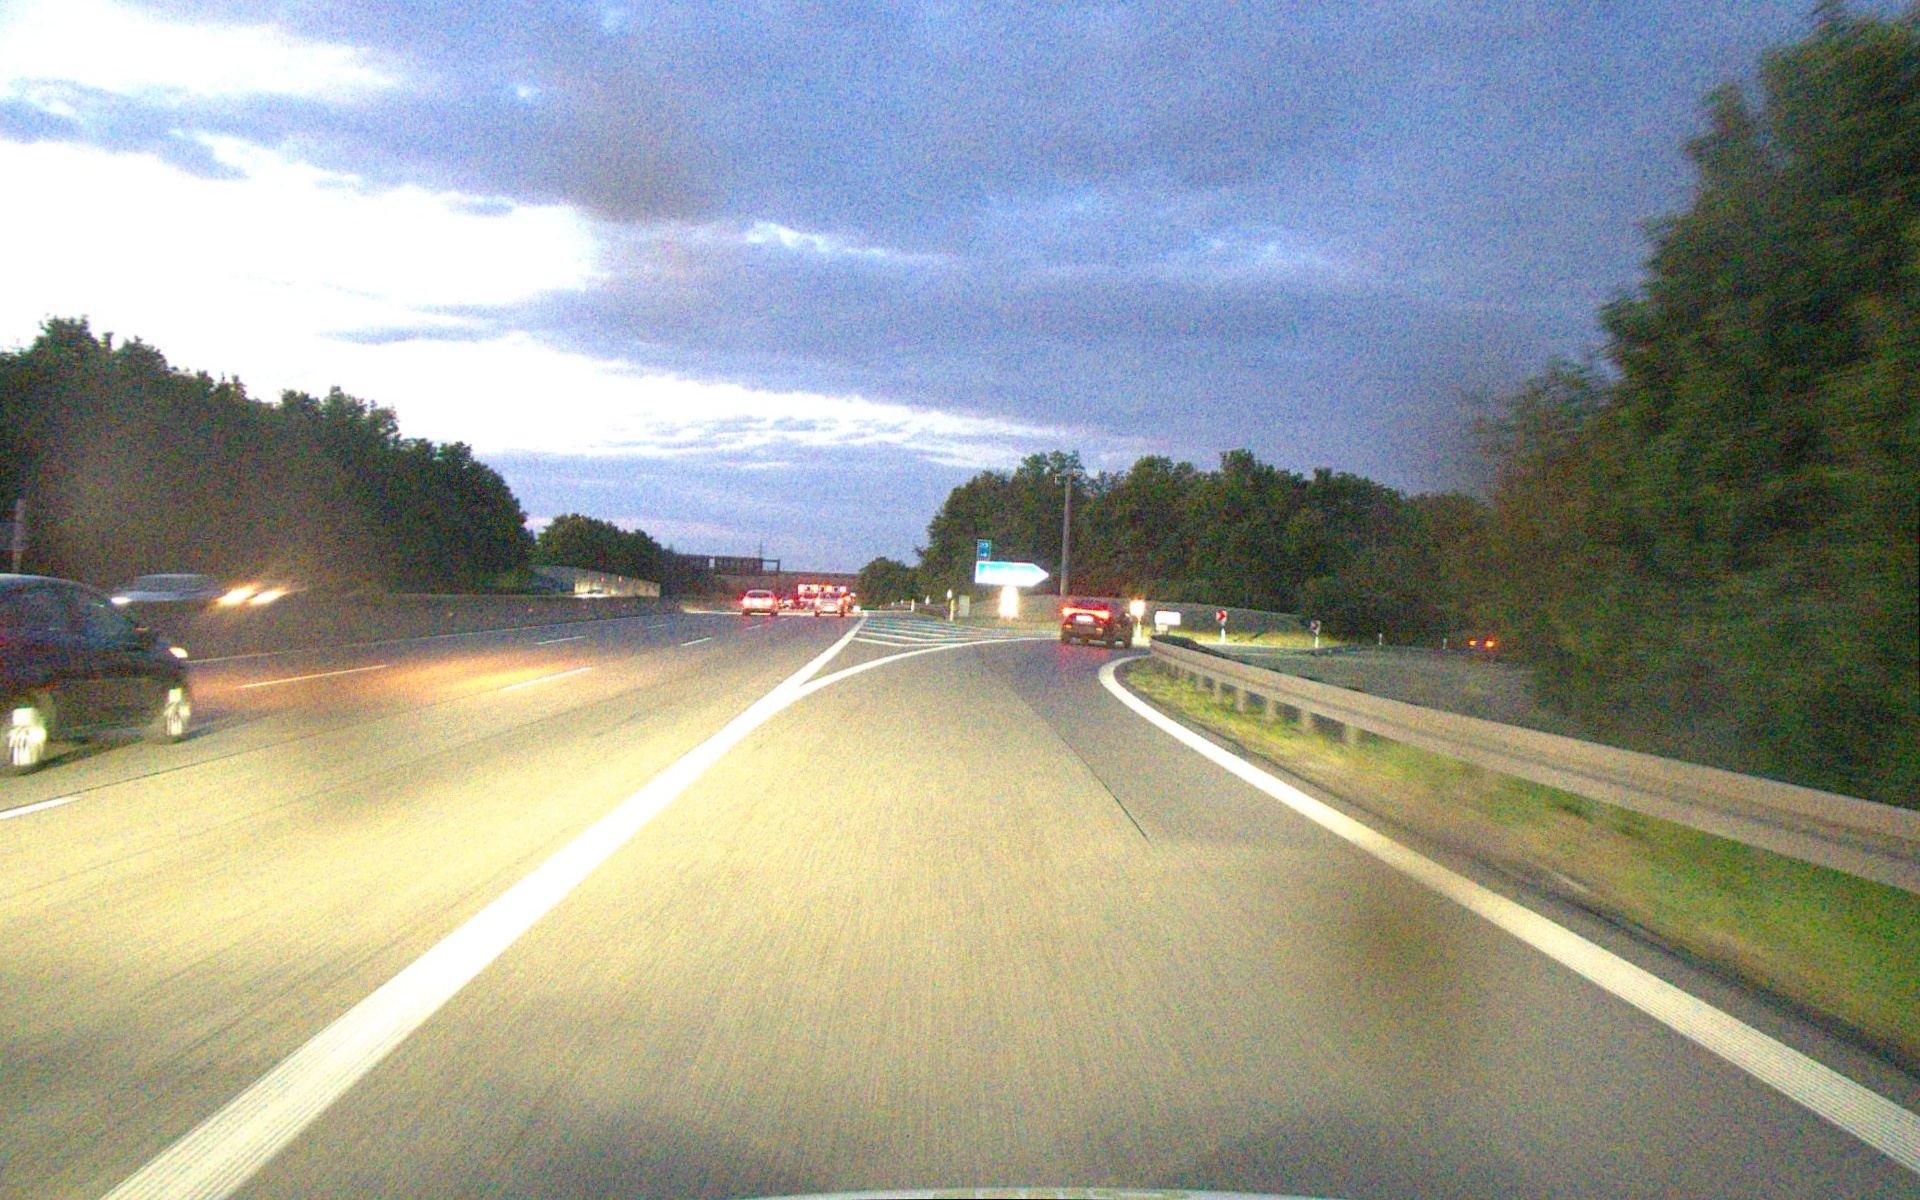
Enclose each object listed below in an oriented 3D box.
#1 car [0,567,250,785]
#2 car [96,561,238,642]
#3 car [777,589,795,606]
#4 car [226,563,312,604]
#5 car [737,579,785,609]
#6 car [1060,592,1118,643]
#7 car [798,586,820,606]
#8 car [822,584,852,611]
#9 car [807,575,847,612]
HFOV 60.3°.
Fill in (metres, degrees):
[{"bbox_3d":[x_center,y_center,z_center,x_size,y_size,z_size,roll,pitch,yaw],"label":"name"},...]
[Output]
[{"bbox_3d":[-7.706,0.502,13.445,1.953,1.524,4.548,0,1,-1],"label":"car"},{"bbox_3d":[-21.513,0.022,45.053,1.953,2.049,3.999,2,0,-2],"label":"car"},{"bbox_3d":[-21.599,-0.354,205.376,2.063,2.049,3.996,0,1,-5],"label":"car"},{"bbox_3d":[-28.808,-0.700,69.044,1.953,1.576,3.999,3,0,-2],"label":"car"},{"bbox_3d":[-11.323,-0.358,94.344,1.952,1.671,4.557,0,1,3],"label":"car"},{"bbox_3d":[4.470,0.577,57.767,1.952,1.688,4.317,1,0,3],"label":"car"},{"bbox_3d":[-15.928,-0.453,174.473,2.030,2.049,3.998,0,1,-2],"label":"car"},{"bbox_3d":[-9.447,-0.226,127.467,1.952,2.049,4.000,0,1,0],"label":"car"},{"bbox_3d":[-7.543,-0.377,94.308,1.953,2.049,4.000,1,0,0],"label":"car"}]
